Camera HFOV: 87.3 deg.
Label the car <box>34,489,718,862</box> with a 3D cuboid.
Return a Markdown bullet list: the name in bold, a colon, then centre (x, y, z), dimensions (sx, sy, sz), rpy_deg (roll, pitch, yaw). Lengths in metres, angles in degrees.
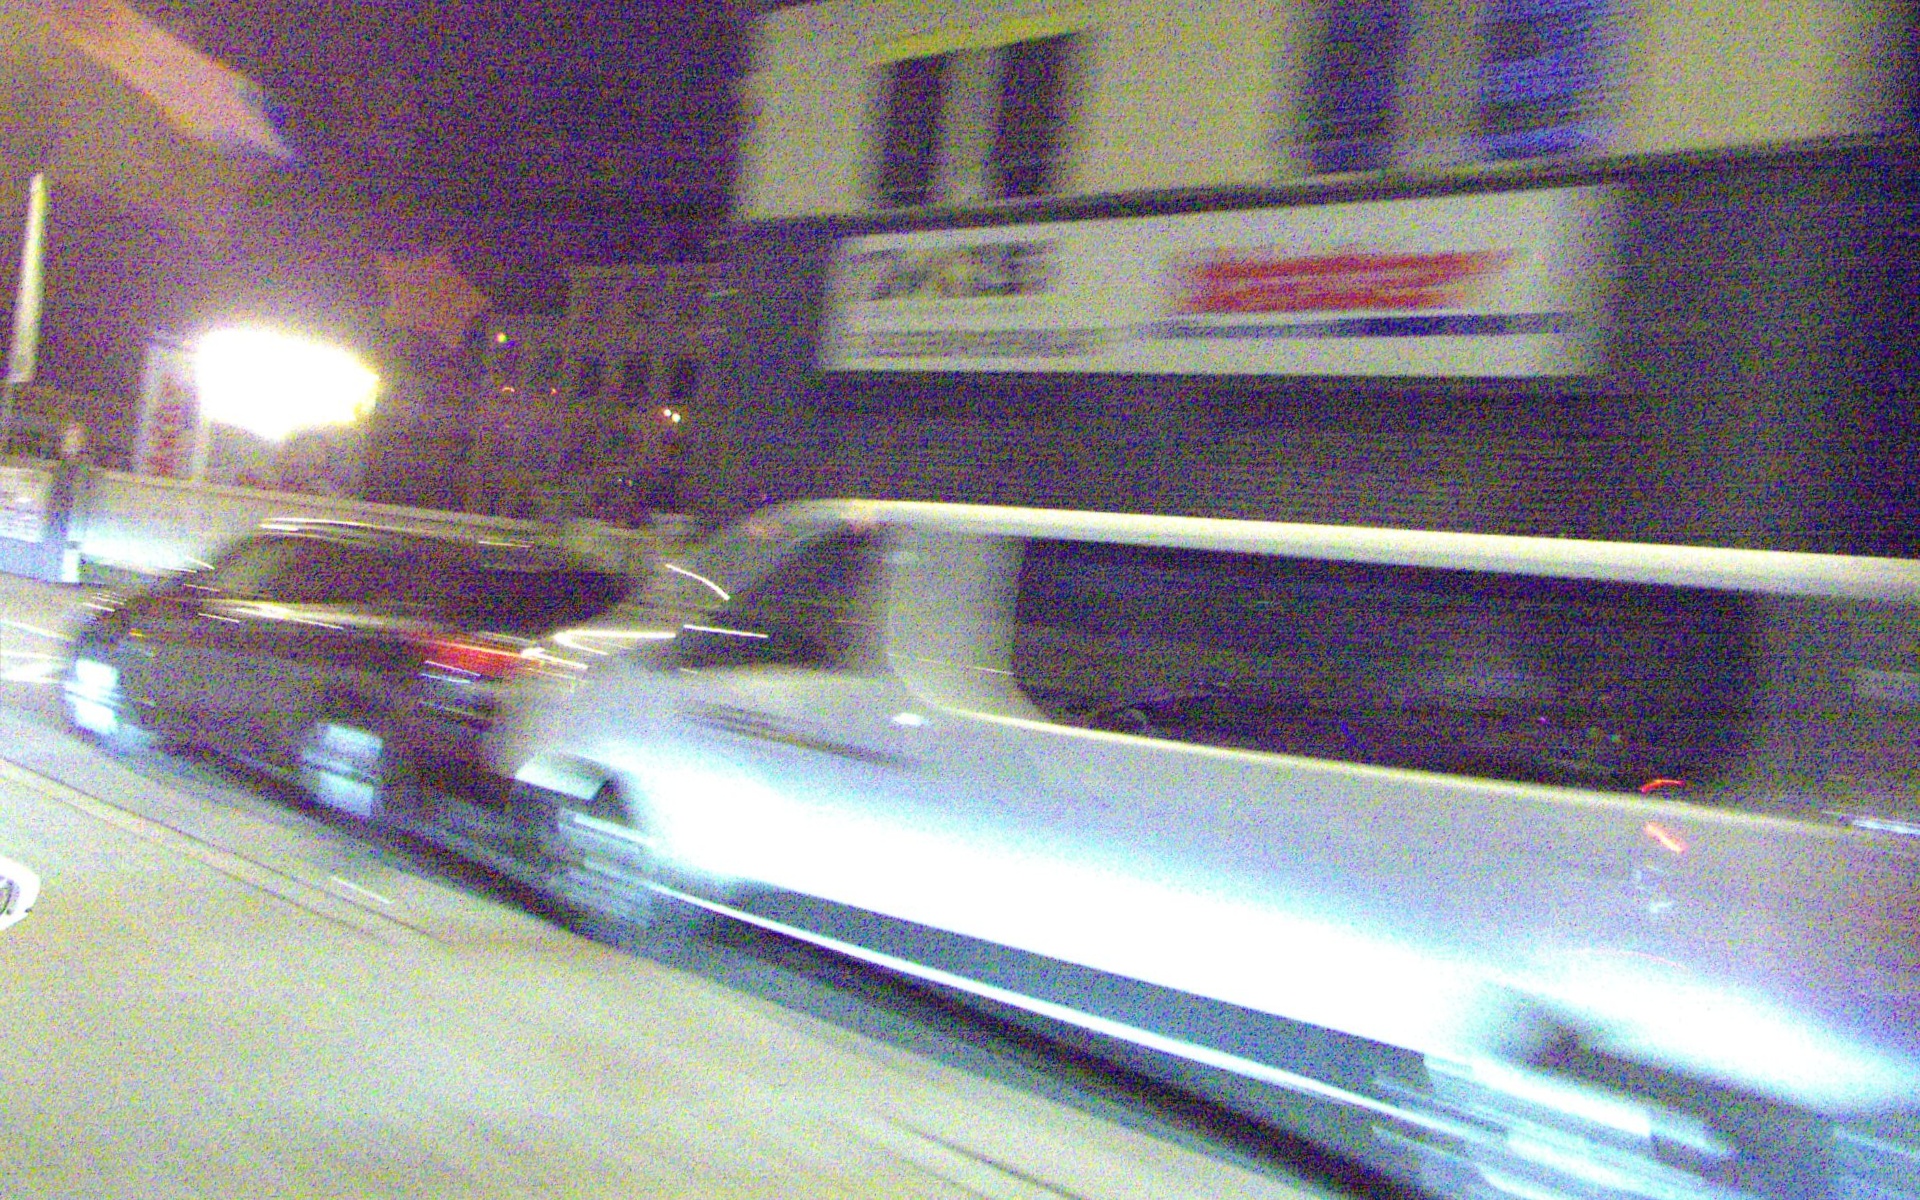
- **car**: centre (-3.874, 0.294, 6.602), dimensions (4.146, 1.620, 1.822), rpy_deg (6, 2, 26)

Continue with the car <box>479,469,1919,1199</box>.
- **car**: centre (0.767, 0.697, 4.088), dimensions (5.277, 1.953, 2.075), rpy_deg (6, 1, 28)
